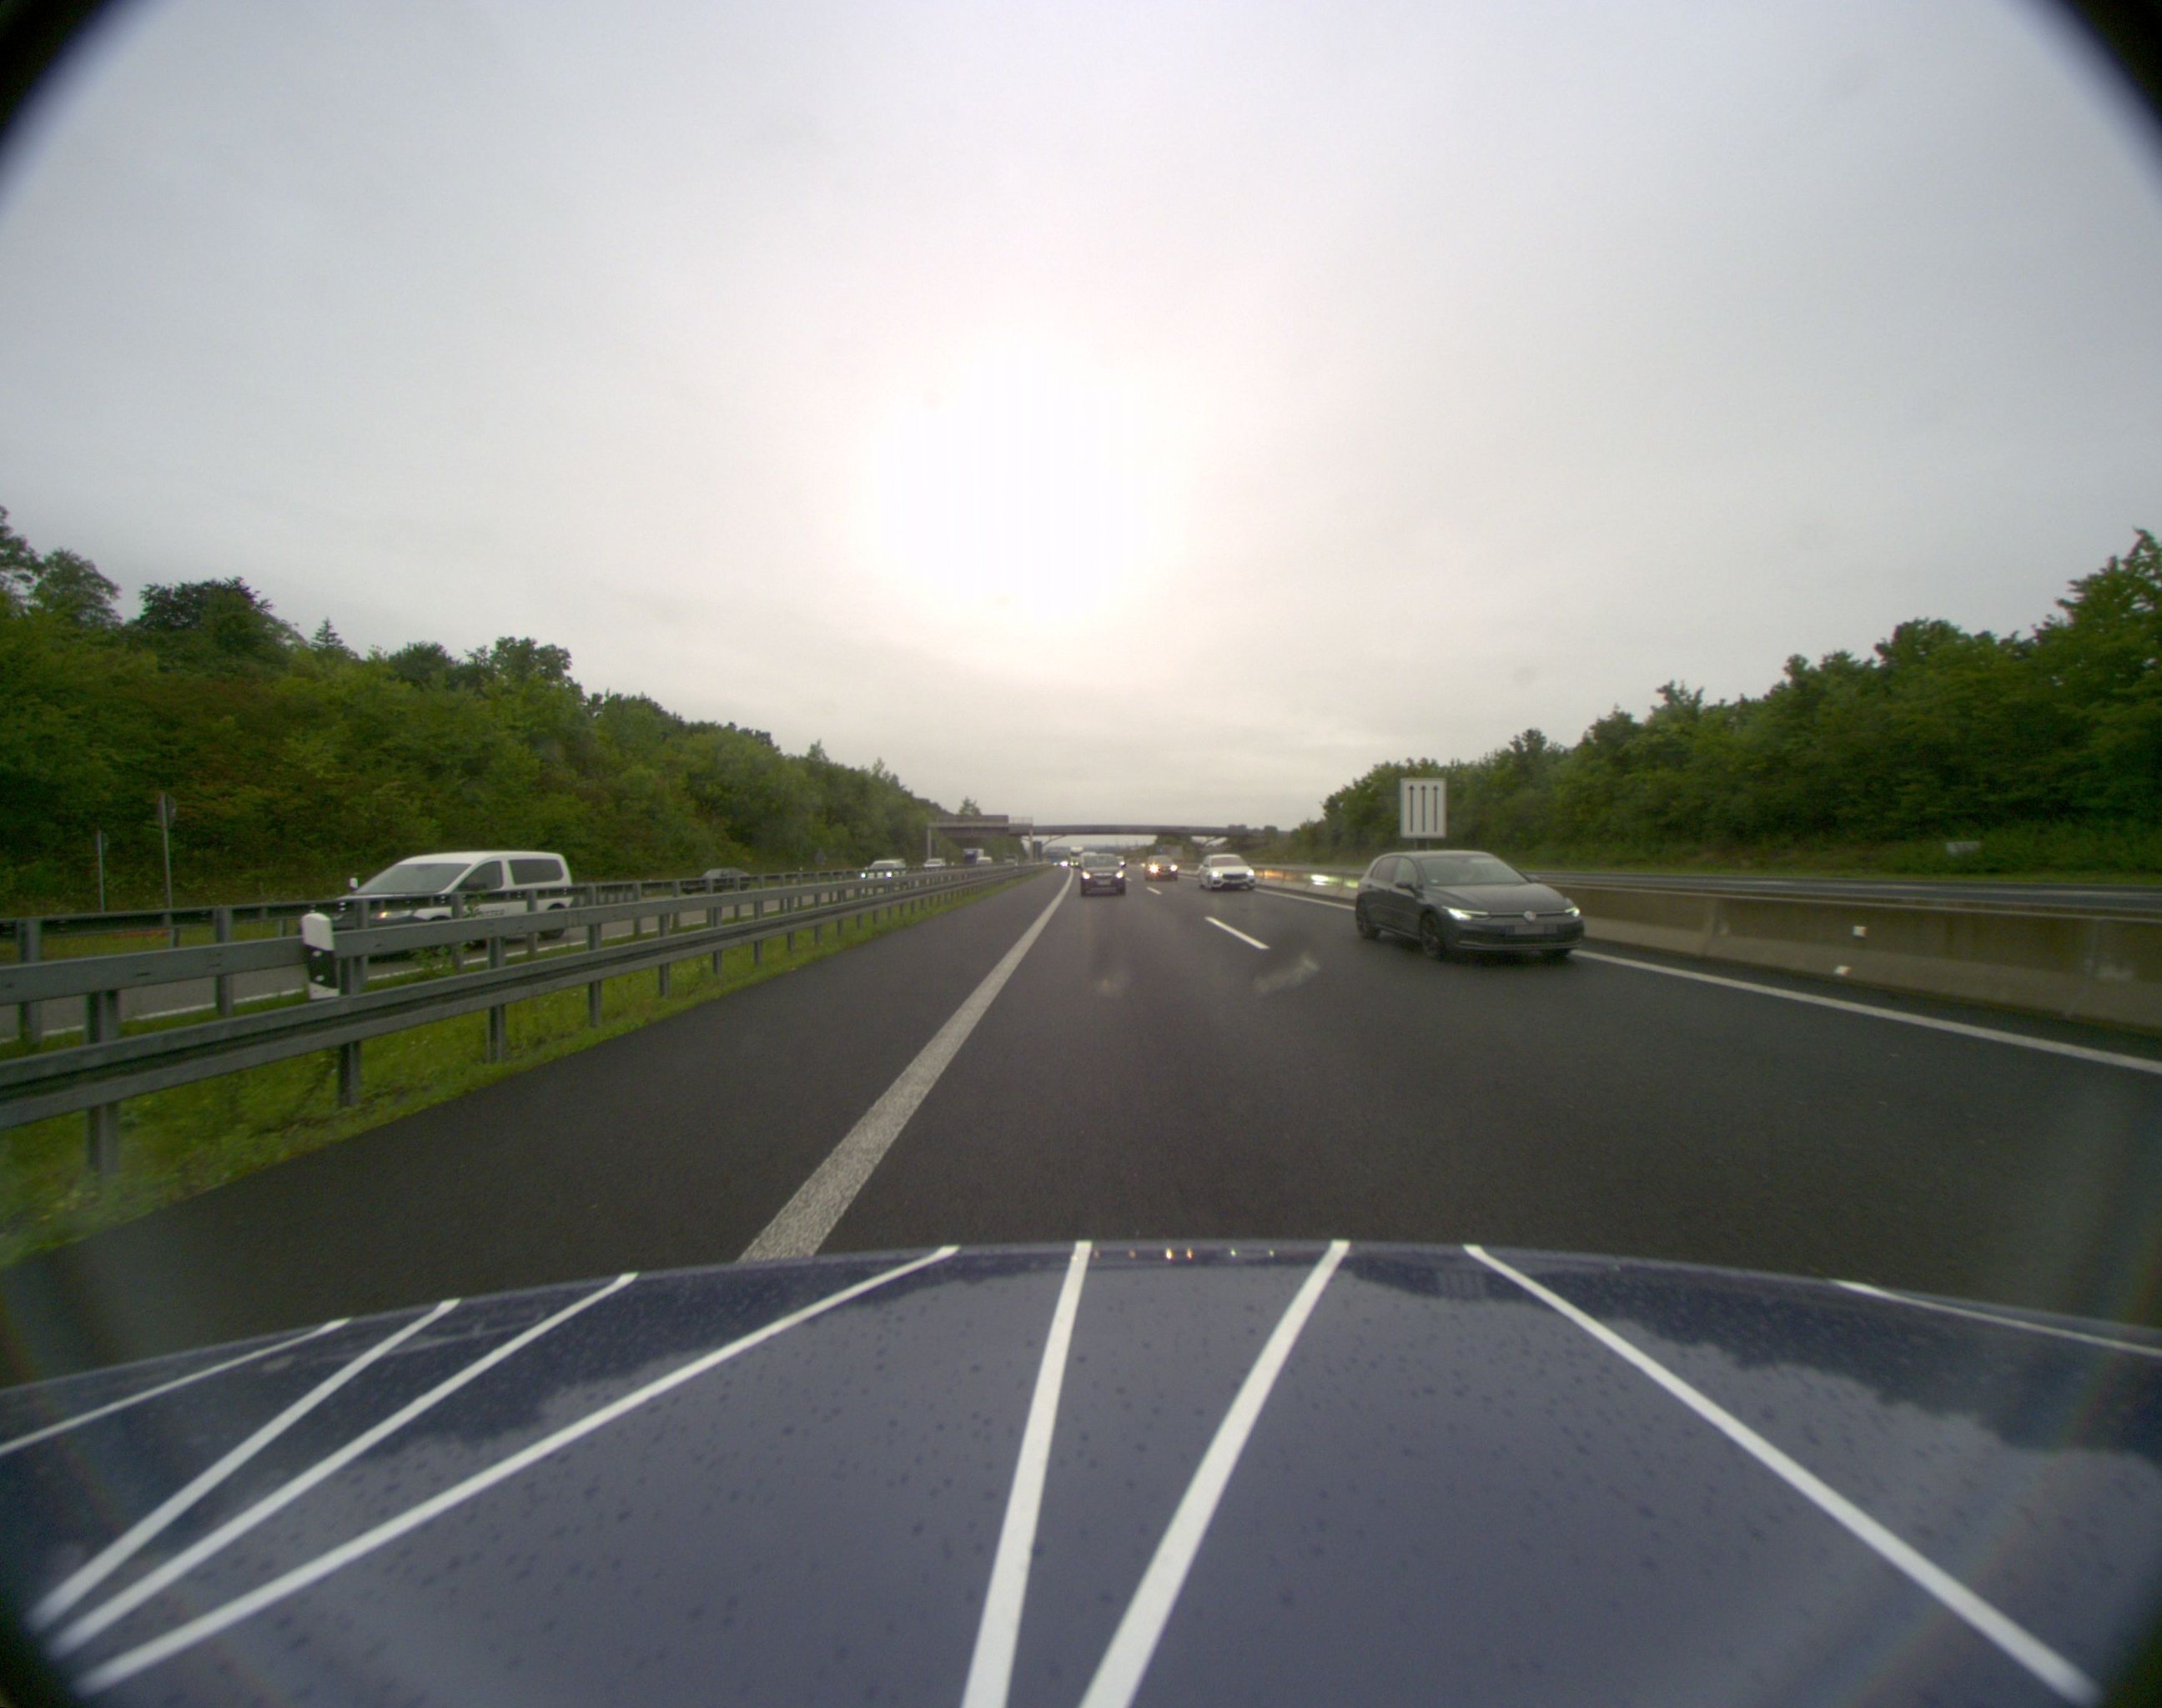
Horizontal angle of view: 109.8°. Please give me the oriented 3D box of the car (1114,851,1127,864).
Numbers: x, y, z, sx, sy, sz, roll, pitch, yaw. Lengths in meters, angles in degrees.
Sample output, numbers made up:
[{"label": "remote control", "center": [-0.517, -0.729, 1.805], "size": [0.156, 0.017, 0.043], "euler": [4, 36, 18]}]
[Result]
[{"label": "car", "center": [5.588, 0.486, 108.096], "size": [1.715, 1.724, 4.000], "euler": [-1, 0, 1]}]

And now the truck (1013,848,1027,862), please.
[{"label": "truck", "center": [-16.251, 0.232, 203.595], "size": [2.909, 3.397, 13.350], "euler": [-2, 0, -2]}]

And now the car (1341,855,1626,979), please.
[{"label": "car", "center": [5.526, 0.753, 11.219], "size": [1.905, 1.397, 4.459], "euler": [-1, 0, 1]}]

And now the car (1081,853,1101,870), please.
[{"label": "car", "center": [1.059, 0.719, 78.038], "size": [1.825, 1.669, 4.001], "euler": [-2, 0, 3]}]

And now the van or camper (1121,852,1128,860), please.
[{"label": "van or camper", "center": [13.674, 0.504, 239.069], "size": [1.800, 2.455, 5.547], "euler": [-1, 0, 0]}]

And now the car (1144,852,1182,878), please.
[{"label": "car", "center": [4.961, 0.651, 46.635], "size": [1.905, 1.497, 4.114], "euler": [-1, 0, 1]}]

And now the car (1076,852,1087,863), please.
[{"label": "car", "center": [0.110, 0.559, 123.392], "size": [1.715, 1.724, 4.000], "euler": [-1, 0, 1]}]

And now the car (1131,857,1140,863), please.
[{"label": "car", "center": [12.544, 1.384, 174.896], "size": [1.905, 1.397, 4.379], "euler": [-1, 0, 1]}]

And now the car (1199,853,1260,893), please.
[{"label": "car", "center": [6.089, 0.726, 31.624], "size": [1.905, 1.497, 4.115], "euler": [-1, 0, 3]}]

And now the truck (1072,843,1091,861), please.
[{"label": "truck", "center": [0.068, -0.501, 151.644], "size": [3.154, 3.332, 13.096], "euler": [-2, 0, -2]}]

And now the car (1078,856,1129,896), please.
[{"label": "car", "center": [0.953, 0.849, 31.155], "size": [1.905, 1.497, 4.115], "euler": [-1, 0, 3]}]

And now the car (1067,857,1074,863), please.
[{"label": "car", "center": [-3.163, 1.963, 236.441], "size": [1.917, 1.671, 4.000], "euler": [-2, 0, 3]}]

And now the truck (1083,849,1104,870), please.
[{"label": "truck", "center": [1.359, 0.606, 84.186], "size": [2.175, 2.214, 5.641], "euler": [-1, 0, -1]}]

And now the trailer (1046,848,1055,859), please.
[{"label": "trailer", "center": [-10.577, -0.086, 261.980], "size": [2.547, 3.799, 11.329], "euler": [-1, 0, 0]}]

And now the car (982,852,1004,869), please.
[{"label": "car", "center": [-10.325, 0.726, 89.218], "size": [2.013, 1.804, 4.276], "euler": [-1, 0, 1]}]

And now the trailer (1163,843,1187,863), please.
[{"label": "trailer", "center": [19.815, -0.177, 160.389], "size": [3.268, 4.059, 13.844], "euler": [-1, 0, 0]}]

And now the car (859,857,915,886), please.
[{"label": "car", "center": [-11.284, 0.995, 44.552], "size": [2.013, 1.539, 4.695], "euler": [-1, 0, 0]}]

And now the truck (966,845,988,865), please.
[{"label": "truck", "center": [-18.233, 0.107, 133.217], "size": [2.909, 3.397, 9.279], "euler": [-2, 0, -3]}]

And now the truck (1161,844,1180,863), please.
[{"label": "truck", "center": [19.813, -0.181, 168.722], "size": [3.268, 4.059, 7.440], "euler": [-1, 0, 0]}]

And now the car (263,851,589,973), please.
[{"label": "car", "center": [-11.428, 0.876, 13.841], "size": [1.864, 1.794, 4.647], "euler": [-1, 0, 0]}]

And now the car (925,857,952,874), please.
[{"label": "car", "center": [-14.221, 1.150, 76.004], "size": [1.901, 1.603, 4.145], "euler": [-1, 0, 0]}]
